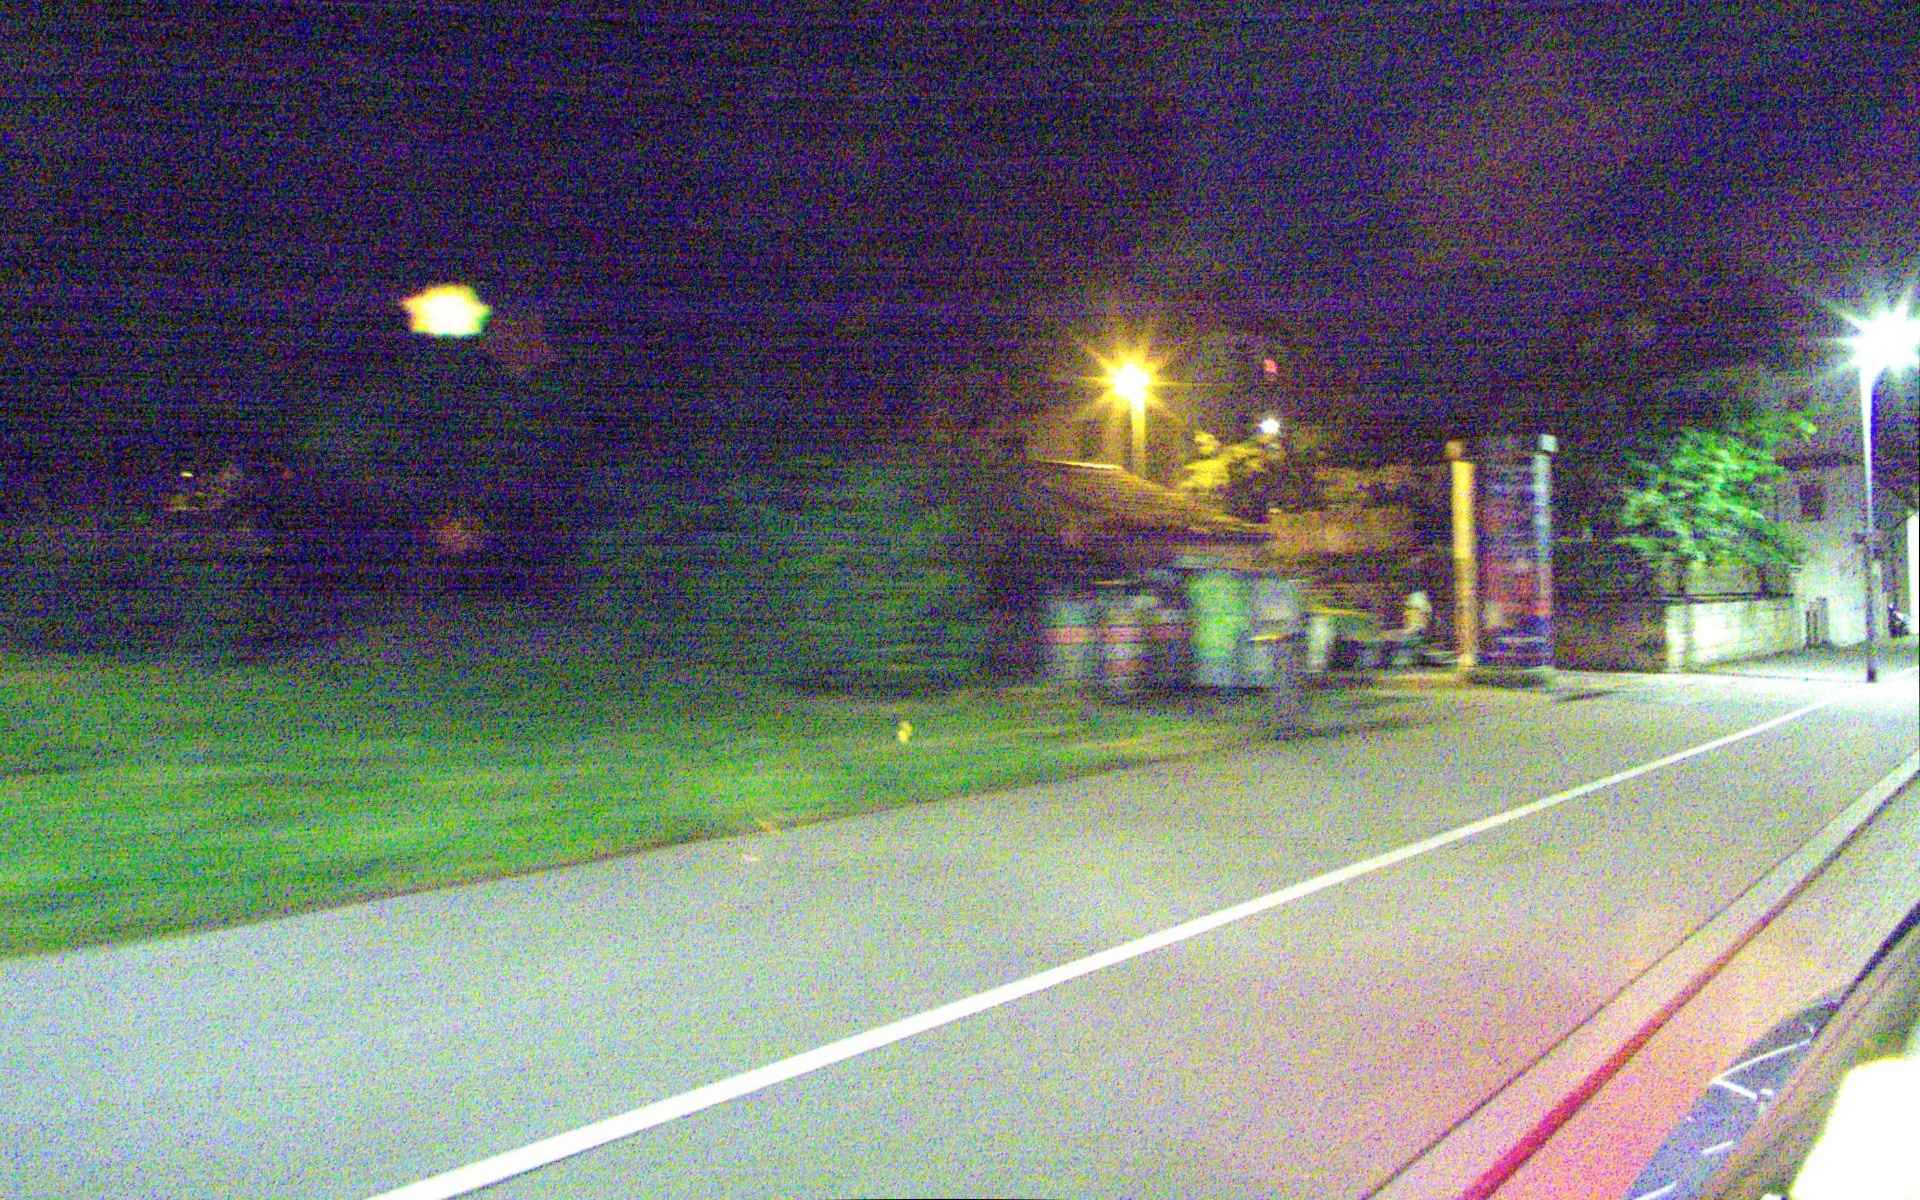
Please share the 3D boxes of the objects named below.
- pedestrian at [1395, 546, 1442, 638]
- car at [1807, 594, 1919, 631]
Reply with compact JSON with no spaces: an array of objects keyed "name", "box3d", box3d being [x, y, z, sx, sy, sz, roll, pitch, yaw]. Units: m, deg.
[{"name":"pedestrian","box3d":[10.048,-0.184,22.166,0.759,1.961,0.647,0,1,-40]},{"name":"car","box3d":[39.039,0.535,43.544,1.699,1.492,3.720,0,0,-37]}]
